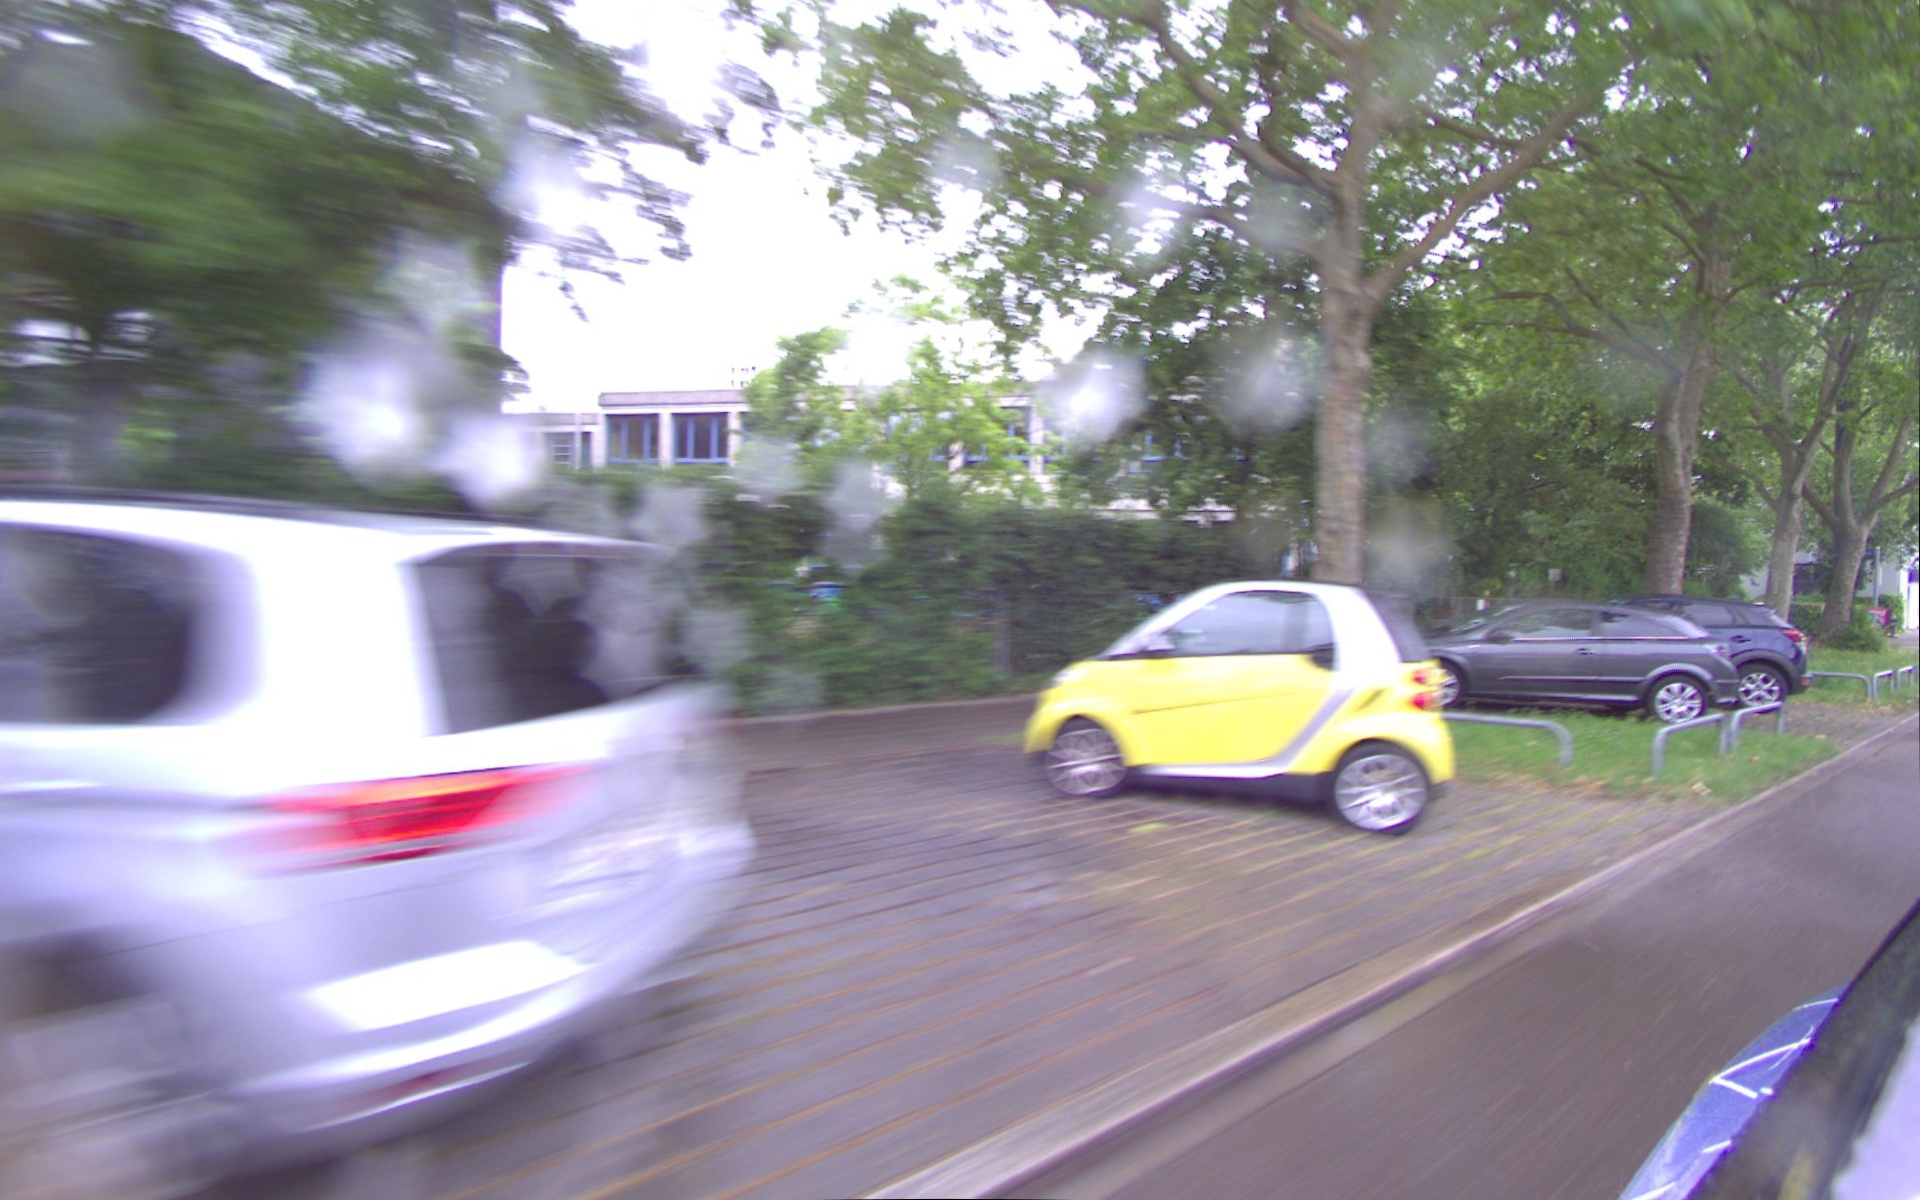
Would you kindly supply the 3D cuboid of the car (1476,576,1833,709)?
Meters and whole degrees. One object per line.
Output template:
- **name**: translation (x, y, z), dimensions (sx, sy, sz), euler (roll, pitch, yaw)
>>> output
- **car**: translation (9.767, 0.524, 14.612), dimensions (3.754, 1.551, 1.873), euler (3, 1, 18)

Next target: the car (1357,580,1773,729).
- **car**: translation (7.251, 0.585, 12.594), dimensions (4.003, 1.435, 1.736), euler (3, 3, 14)

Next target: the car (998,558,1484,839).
- **car**: translation (1.895, 0.519, 7.050), dimensions (2.871, 1.484, 1.593), euler (4, 3, 21)

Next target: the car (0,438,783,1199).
- **car**: translation (-2.749, 0.437, 3.130), dimensions (3.986, 1.661, 1.648), euler (3, 1, 12)
